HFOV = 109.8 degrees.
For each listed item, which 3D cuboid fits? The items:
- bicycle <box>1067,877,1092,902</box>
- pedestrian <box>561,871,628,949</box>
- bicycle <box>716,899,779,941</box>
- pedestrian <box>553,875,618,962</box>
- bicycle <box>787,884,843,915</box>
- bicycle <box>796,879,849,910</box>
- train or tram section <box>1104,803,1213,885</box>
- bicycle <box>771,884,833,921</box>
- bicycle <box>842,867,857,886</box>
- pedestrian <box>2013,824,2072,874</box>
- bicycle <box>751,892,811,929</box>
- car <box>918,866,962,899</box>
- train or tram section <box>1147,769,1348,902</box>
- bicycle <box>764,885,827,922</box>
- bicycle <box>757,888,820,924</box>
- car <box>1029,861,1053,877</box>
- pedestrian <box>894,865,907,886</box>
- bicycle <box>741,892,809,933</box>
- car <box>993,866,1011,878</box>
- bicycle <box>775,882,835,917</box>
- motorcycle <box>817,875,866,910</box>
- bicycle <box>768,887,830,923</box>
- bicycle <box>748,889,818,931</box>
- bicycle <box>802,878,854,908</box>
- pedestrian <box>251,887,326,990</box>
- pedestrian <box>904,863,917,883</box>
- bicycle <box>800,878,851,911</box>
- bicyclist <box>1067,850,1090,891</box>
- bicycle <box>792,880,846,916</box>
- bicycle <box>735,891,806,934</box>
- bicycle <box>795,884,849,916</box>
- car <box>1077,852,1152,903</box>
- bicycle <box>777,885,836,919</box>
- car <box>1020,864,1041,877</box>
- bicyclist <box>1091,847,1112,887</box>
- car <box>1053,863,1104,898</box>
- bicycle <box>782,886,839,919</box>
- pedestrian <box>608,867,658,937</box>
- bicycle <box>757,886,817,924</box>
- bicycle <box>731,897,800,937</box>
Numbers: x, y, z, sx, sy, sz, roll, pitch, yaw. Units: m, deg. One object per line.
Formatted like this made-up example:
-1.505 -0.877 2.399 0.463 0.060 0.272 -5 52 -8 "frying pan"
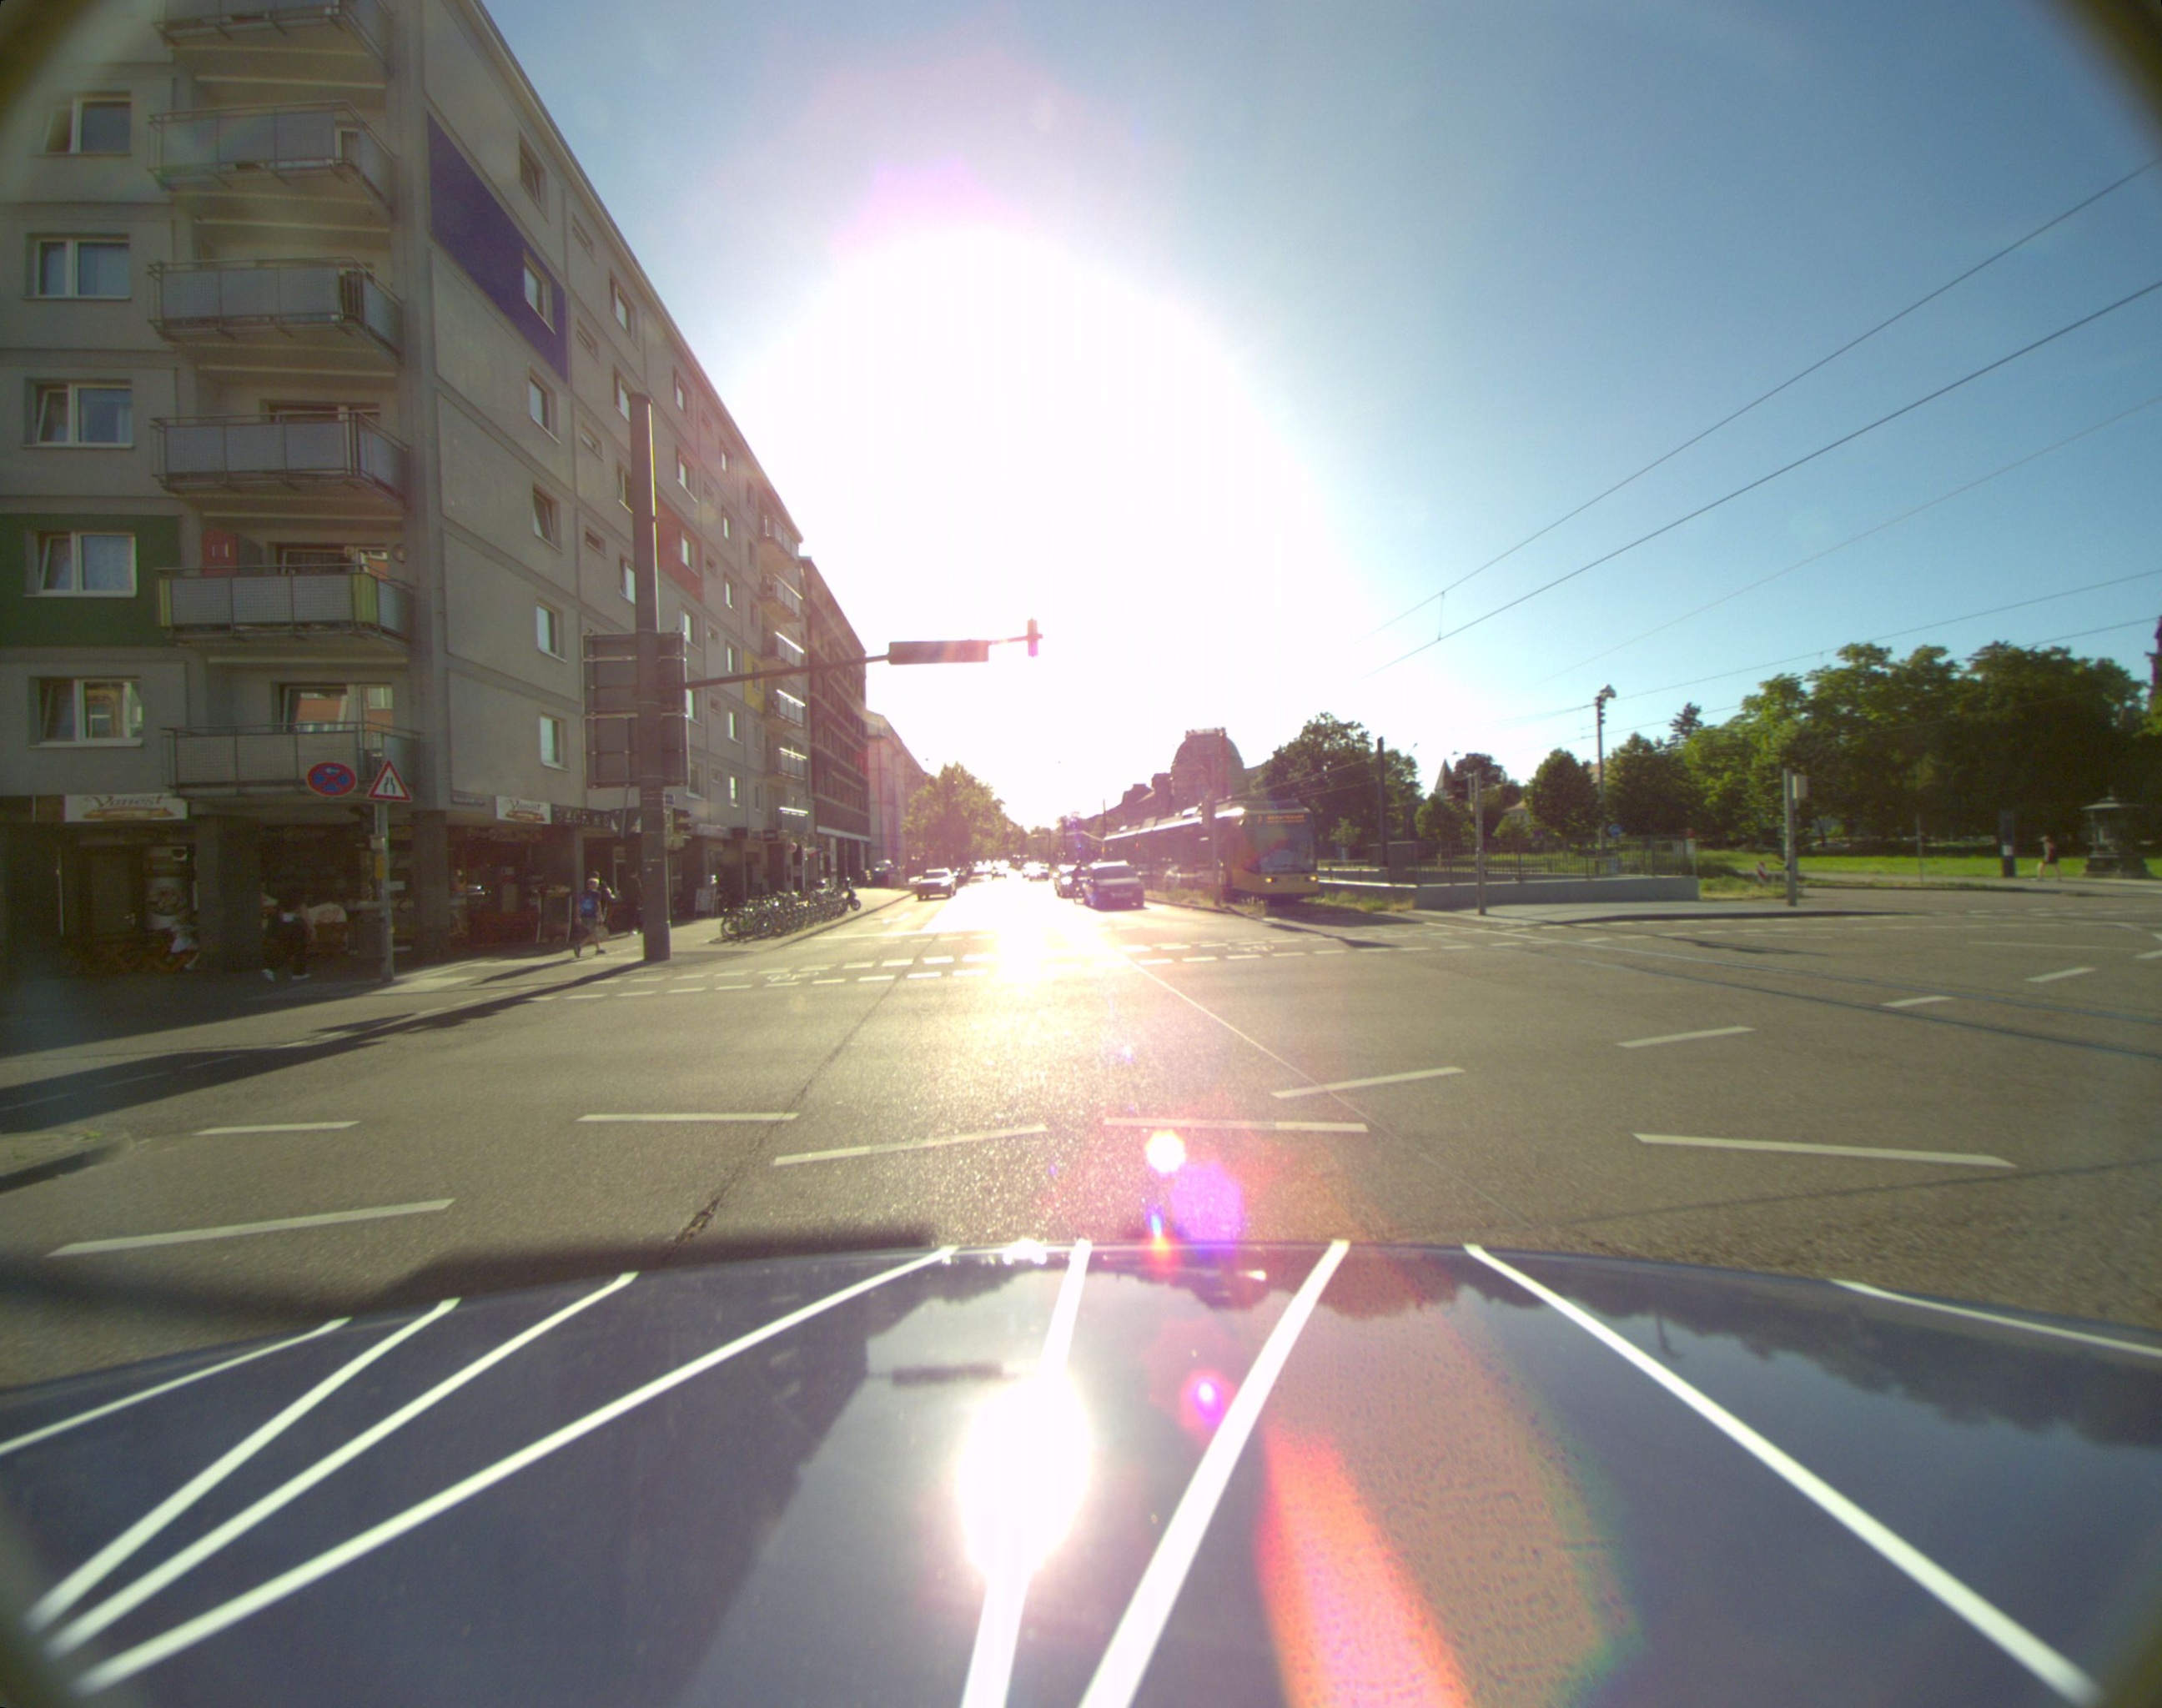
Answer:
-0.065 1.507 32.924 0.631 0.934 1.904 -4 1 -12 "bicycle"
-12.077 1.359 18.905 0.866 1.824 1.210 -3 1 -7 "pedestrian"
-8.750 1.729 19.966 1.433 1.005 0.410 -1 2 -5 "bicycle"
-10.630 1.359 16.341 0.792 1.767 0.874 -3 1 -7 "pedestrian"
-9.510 1.619 27.208 1.824 1.006 0.415 -2 1 -11 "bicycle"
-9.803 1.523 28.855 1.824 1.054 0.415 -2 2 -11 "bicycle"
3.744 -0.479 41.379 2.958 3.591 13.626 -3 0 -6 "train or tram section"
-9.267 1.605 25.300 1.824 1.054 0.415 -4 1 -9 "bicycle"
-16.123 1.560 52.891 0.598 1.235 1.931 -2 1 -7 "bicycle"
37.340 -0.195 29.517 0.845 1.836 1.114 -4 2 -9 "pedestrian"
-8.918 1.685 22.604 1.548 0.960 0.387 -4 2 -7 "bicycle"
-8.249 1.632 44.719 1.902 1.677 4.116 -3 1 -2 "car"
5.358 -0.538 28.222 2.958 3.664 13.175 -3 0 -7 "train or tram section"
-9.192 1.598 24.463 1.823 1.107 0.405 -1 1 -7 "bicycle"
-9.250 1.645 24.075 1.775 1.049 0.415 -1 1 -8 "bicycle"
-3.666 1.381 69.387 1.859 1.284 4.092 -3 1 -7 "car"
-14.485 1.693 61.054 0.772 1.641 0.671 -2 1 5 "pedestrian"
-8.904 1.696 22.171 1.755 1.094 0.399 -2 2 -9 "bicycle"
-9.282 2.100 89.069 1.988 1.284 4.390 -3 1 -7 "car"
-9.319 1.524 25.720 1.824 1.054 0.415 -2 2 -10 "bicycle"
-10.197 1.629 32.411 1.885 1.421 0.888 -1 1 -11 "motorcycle"
-9.215 1.662 24.872 1.823 1.054 0.415 -2 2 -7 "bicycle"
-9.024 1.688 23.062 1.819 1.076 0.530 -4 2 -10 "bicycle"
-9.761 1.511 29.383 1.824 1.054 0.415 -2 1 -11 "bicycle"
-14.318 1.500 13.747 0.569 1.763 0.664 -3 1 -5 "pedestrian"
-16.114 1.763 71.867 0.868 1.873 1.220 -3 1 -23 "pedestrian"
-10.192 1.613 30.361 1.824 1.167 0.702 -2 1 -11 "bicycle"
-0.108 0.705 32.882 0.704 1.720 0.853 -4 2 -12 "bicyclist"
-9.656 1.617 28.057 1.783 1.222 0.415 -2 1 -11 "bicycle"
-8.873 1.669 21.752 1.757 1.070 0.406 -4 2 -9 "bicycle"
-9.678 1.708 28.476 1.824 1.054 0.415 -3 2 -11 "bicycle"
1.143 0.799 28.201 2.000 1.528 4.353 -4 1 -7 "car"
-9.440 1.635 26.152 1.824 1.063 0.415 -2 3 -11 "bicycle"
-5.572 1.799 83.228 1.988 1.284 4.324 -3 1 -7 "car"
0.873 0.541 33.020 0.694 1.650 0.919 -4 2 -7 "bicyclist"
-0.185 1.280 38.465 2.000 1.421 4.129 -4 1 -7 "car"
-9.452 1.690 26.598 1.824 1.063 0.415 -1 3 -11 "bicycle"
-12.657 1.332 21.471 0.791 1.875 0.875 -3 1 0 "pedestrian"
-9.118 1.576 23.580 1.644 1.105 0.530 0 1 -9 "bicycle"
-8.724 1.732 21.040 1.705 1.005 0.410 -1 1 -10 "bicycle"
